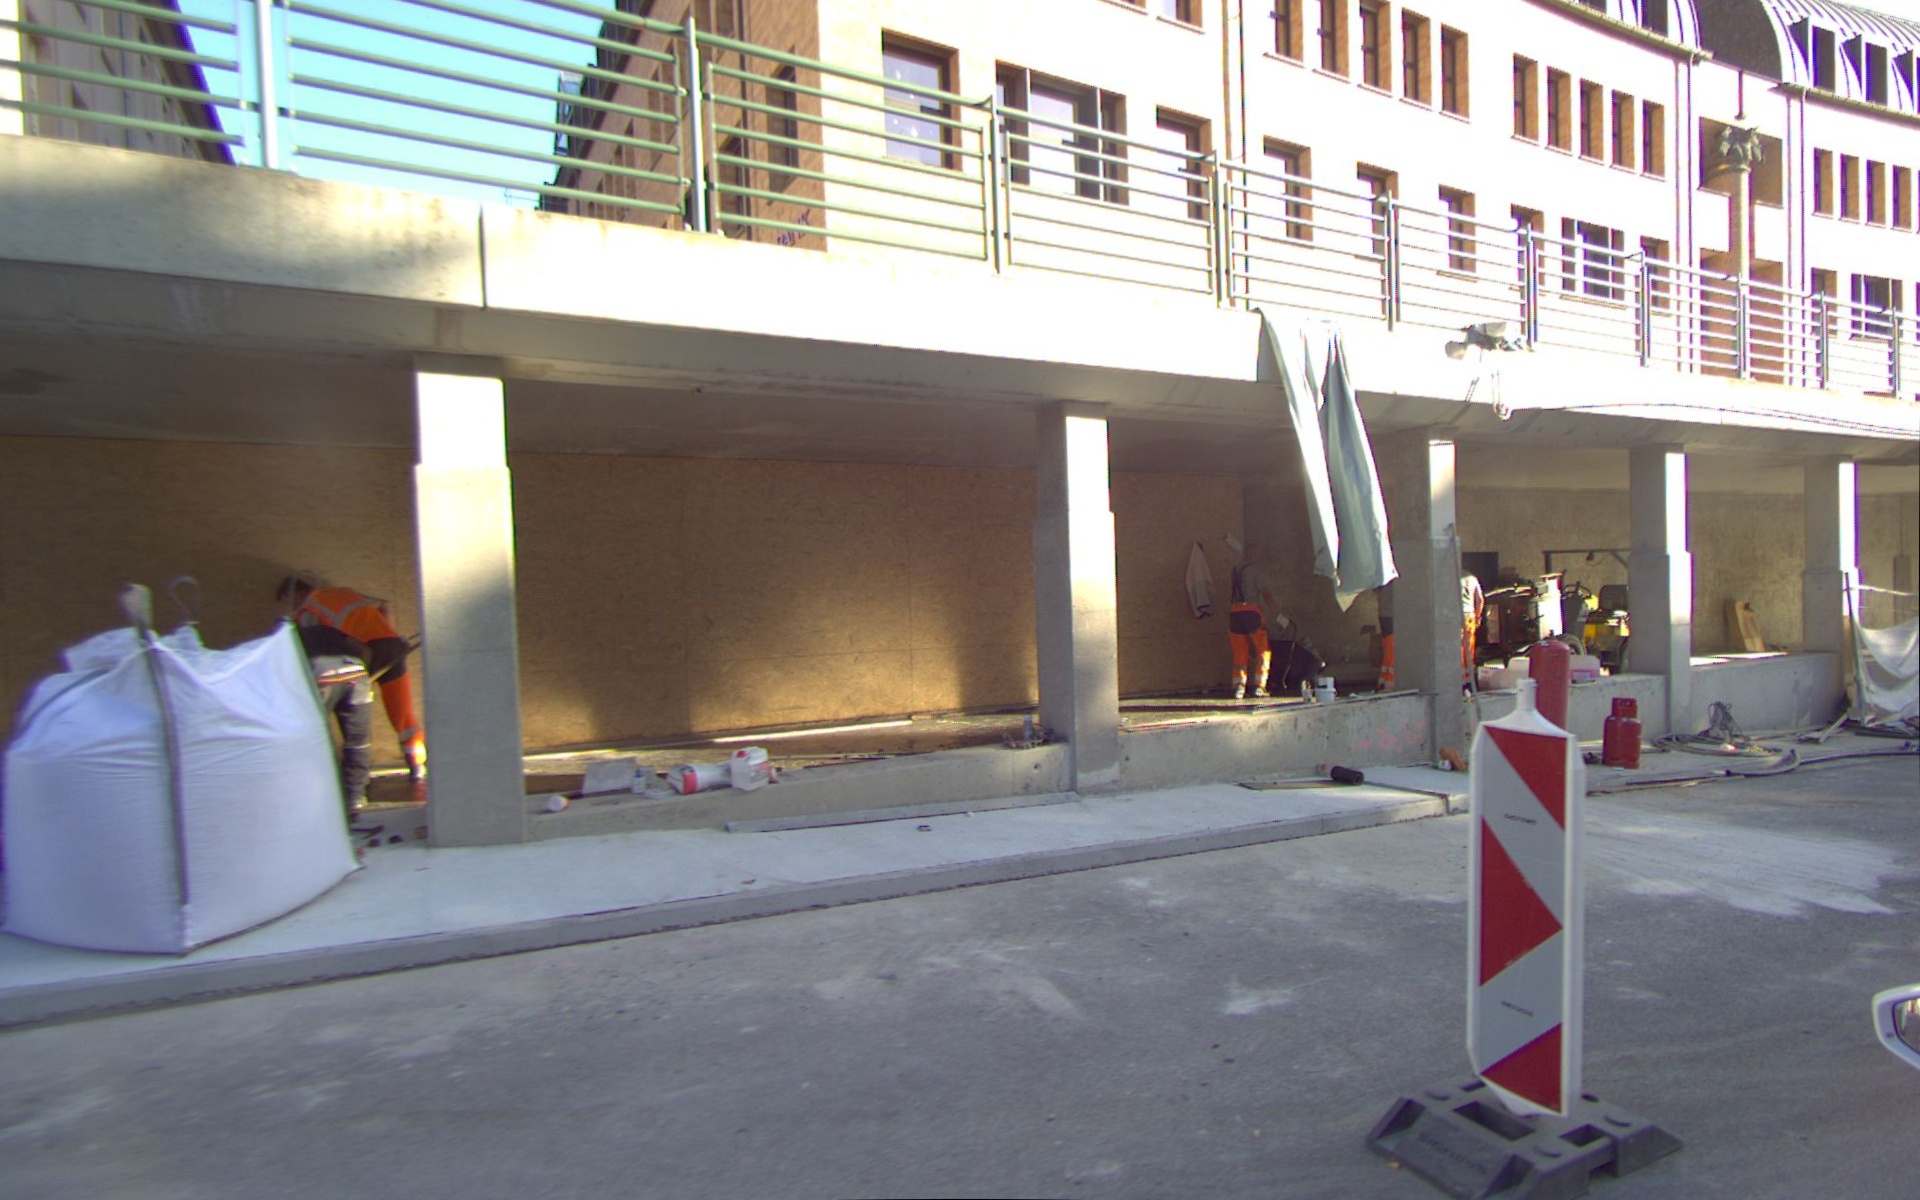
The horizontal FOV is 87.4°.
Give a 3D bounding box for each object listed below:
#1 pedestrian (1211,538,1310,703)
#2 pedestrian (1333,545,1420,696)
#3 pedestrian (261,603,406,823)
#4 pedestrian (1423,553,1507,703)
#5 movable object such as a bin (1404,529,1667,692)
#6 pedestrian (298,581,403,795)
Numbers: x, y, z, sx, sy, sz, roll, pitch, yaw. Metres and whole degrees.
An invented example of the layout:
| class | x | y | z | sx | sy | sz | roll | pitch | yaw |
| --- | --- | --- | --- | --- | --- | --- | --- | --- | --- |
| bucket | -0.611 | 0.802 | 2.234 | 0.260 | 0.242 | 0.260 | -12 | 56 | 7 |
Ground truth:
| class | x | y | z | sx | sy | sz | roll | pitch | yaw |
| --- | --- | --- | --- | --- | --- | --- | --- | --- | --- |
| pedestrian | 3.745 | 0.245 | 12.543 | 0.925 | 1.983 | 0.674 | 1 | 1 | -29 |
| pedestrian | 5.267 | 0.250 | 12.724 | 0.701 | 1.839 | 0.700 | 1 | 1 | -31 |
| pedestrian | -4.418 | 0.738 | 7.076 | 0.776 | 1.417 | 0.865 | 1 | 0 | -38 |
| pedestrian | 6.353 | 0.339 | 12.653 | 0.615 | 1.829 | 0.656 | 1 | 1 | -21 |
| movable object such as a bin | 8.004 | 0.128 | 13.978 | 3.122 | 2.014 | 1.876 | 0 | 1 | -31 |
| pedestrian | -4.838 | 0.667 | 7.967 | 0.625 | 1.600 | 0.644 | 1 | 0 | -38 |
